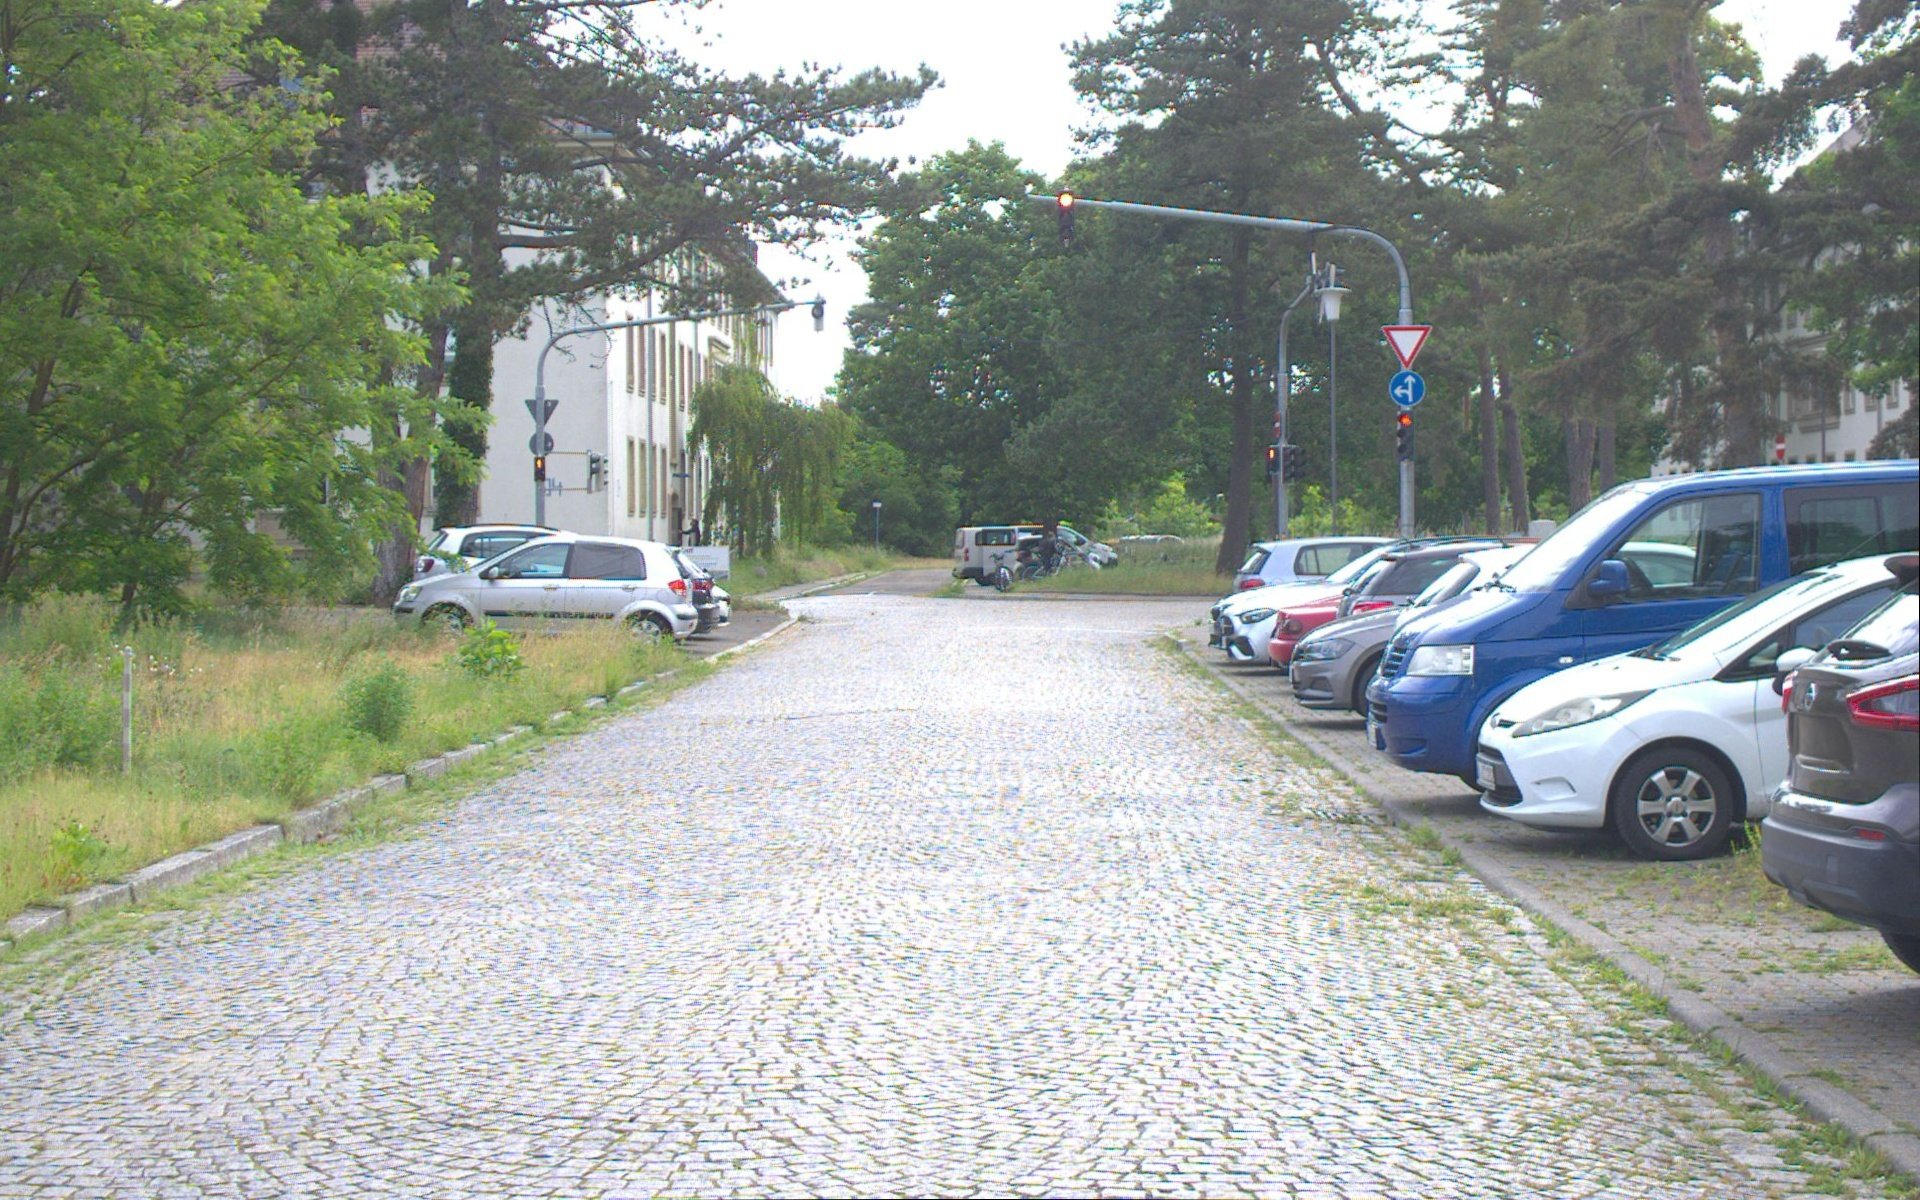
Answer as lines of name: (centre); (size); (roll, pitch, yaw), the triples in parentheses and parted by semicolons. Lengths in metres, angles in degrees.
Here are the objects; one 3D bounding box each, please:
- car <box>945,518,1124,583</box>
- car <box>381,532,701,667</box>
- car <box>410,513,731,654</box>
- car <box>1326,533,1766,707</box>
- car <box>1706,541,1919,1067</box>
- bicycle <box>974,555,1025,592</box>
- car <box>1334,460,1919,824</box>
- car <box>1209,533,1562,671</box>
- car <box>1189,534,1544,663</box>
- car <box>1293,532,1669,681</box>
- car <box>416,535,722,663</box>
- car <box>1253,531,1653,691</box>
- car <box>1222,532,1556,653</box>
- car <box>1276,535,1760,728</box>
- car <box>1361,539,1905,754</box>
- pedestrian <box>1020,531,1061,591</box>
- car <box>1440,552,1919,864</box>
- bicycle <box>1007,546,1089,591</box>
car: (2.377, -1.598, 110.761); (5.444, 2.007, 2.269); (0, 1, -8)
car: (-5.207, -0.018, 43.017); (3.821, 1.567, 1.564); (-1, 1, -2)
car: (-5.445, -0.241, 48.425); (4.262, 1.834, 1.744); (-1, 1, 1)
car: (5.255, 0.166, 31.107); (3.672, 1.444, 1.524); (-1, 1, -1)
car: (4.642, 0.549, 11.103); (4.028, 1.547, 1.751); (-1, 1, -1)
bicycle: (1.018, -0.692, 88.818); (0.620, 0.941, 1.663); (0, 1, -27)
car: (4.698, 0.196, 20.070); (4.754, 1.948, 1.931); (-1, 1, -1)
car: (4.715, 0.013, 38.363); (3.671, 1.416, 1.524); (-1, 1, -3)
car: (4.837, -0.035, 41.216); (3.967, 1.416, 1.620); (-1, 1, -3)
car: (5.429, 0.055, 36.094); (3.672, 1.444, 1.524); (-1, 1, -1)
car: (-5.133, -0.025, 45.433); (3.821, 1.567, 1.564); (-1, 1, 1)
car: (4.810, 0.094, 33.823); (3.672, 1.444, 1.524); (-1, 1, -1)
car: (5.442, -0.104, 43.853); (3.967, 1.416, 1.620); (-1, 1, -3)
car: (4.516, 0.239, 28.135); (3.672, 1.444, 1.524); (-1, 1, -1)
car: (4.904, 0.322, 25.348); (3.672, 1.444, 1.524); (-1, 1, -1)
pedestrian: (2.182, -1.063, 93.200); (1.033, 1.608, 0.757); (1, 1, -4)
car: (4.421, 0.497, 17.487); (3.671, 1.444, 1.615); (-1, 1, -1)
bicycle: (2.376, -0.850, 92.856); (2.136, 1.210, 0.622); (1, 1, -3)
